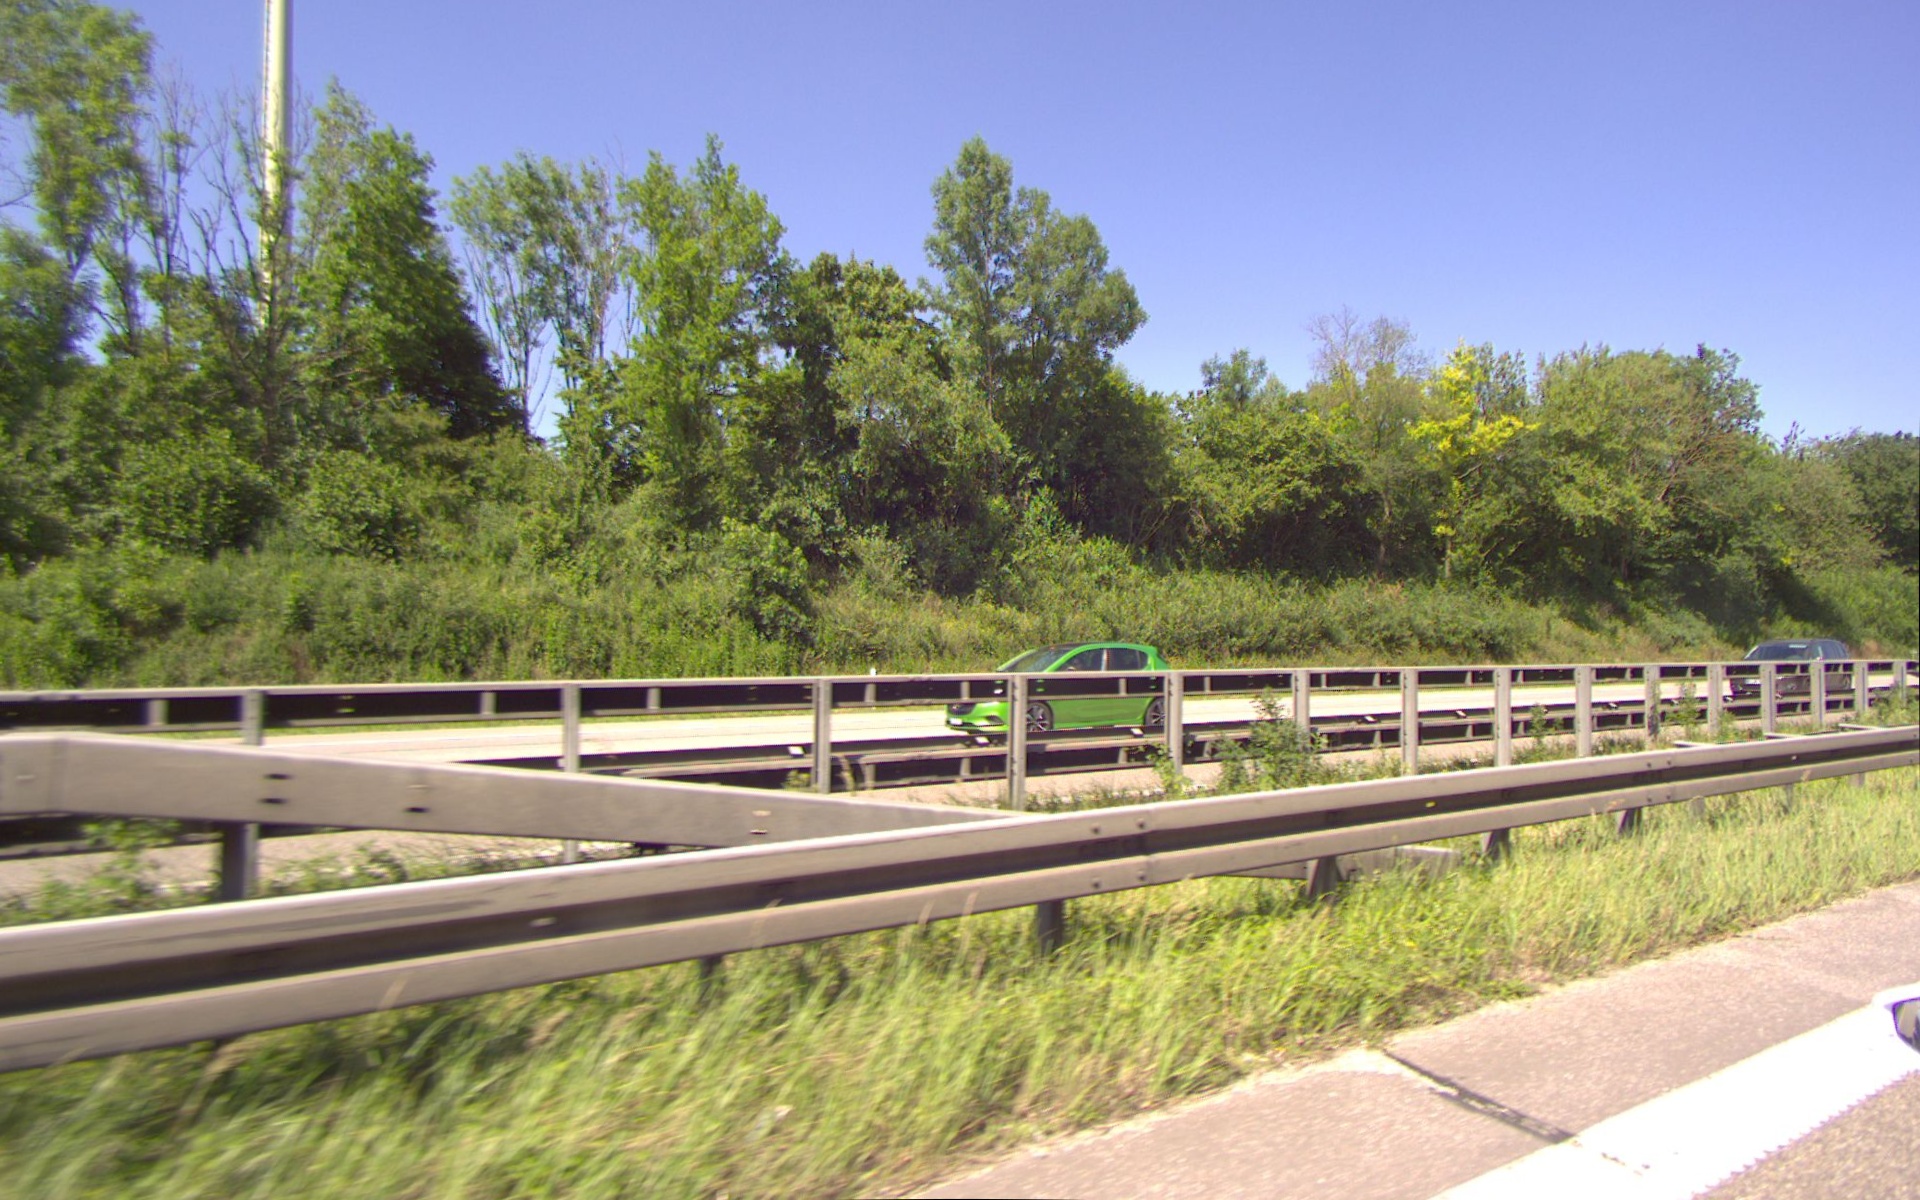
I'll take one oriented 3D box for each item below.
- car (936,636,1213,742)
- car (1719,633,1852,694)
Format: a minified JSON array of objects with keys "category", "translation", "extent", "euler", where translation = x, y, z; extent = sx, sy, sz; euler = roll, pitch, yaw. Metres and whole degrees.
[{"category":"car","translation":[1.868,1.350,16.041],"extent":[4.269,1.497,1.650],"euler":[1,-4,-30]},{"category":"car","translation":[23.680,1.809,28.806],"extent":[3.867,1.638,1.650],"euler":[1,-4,-30]}]
